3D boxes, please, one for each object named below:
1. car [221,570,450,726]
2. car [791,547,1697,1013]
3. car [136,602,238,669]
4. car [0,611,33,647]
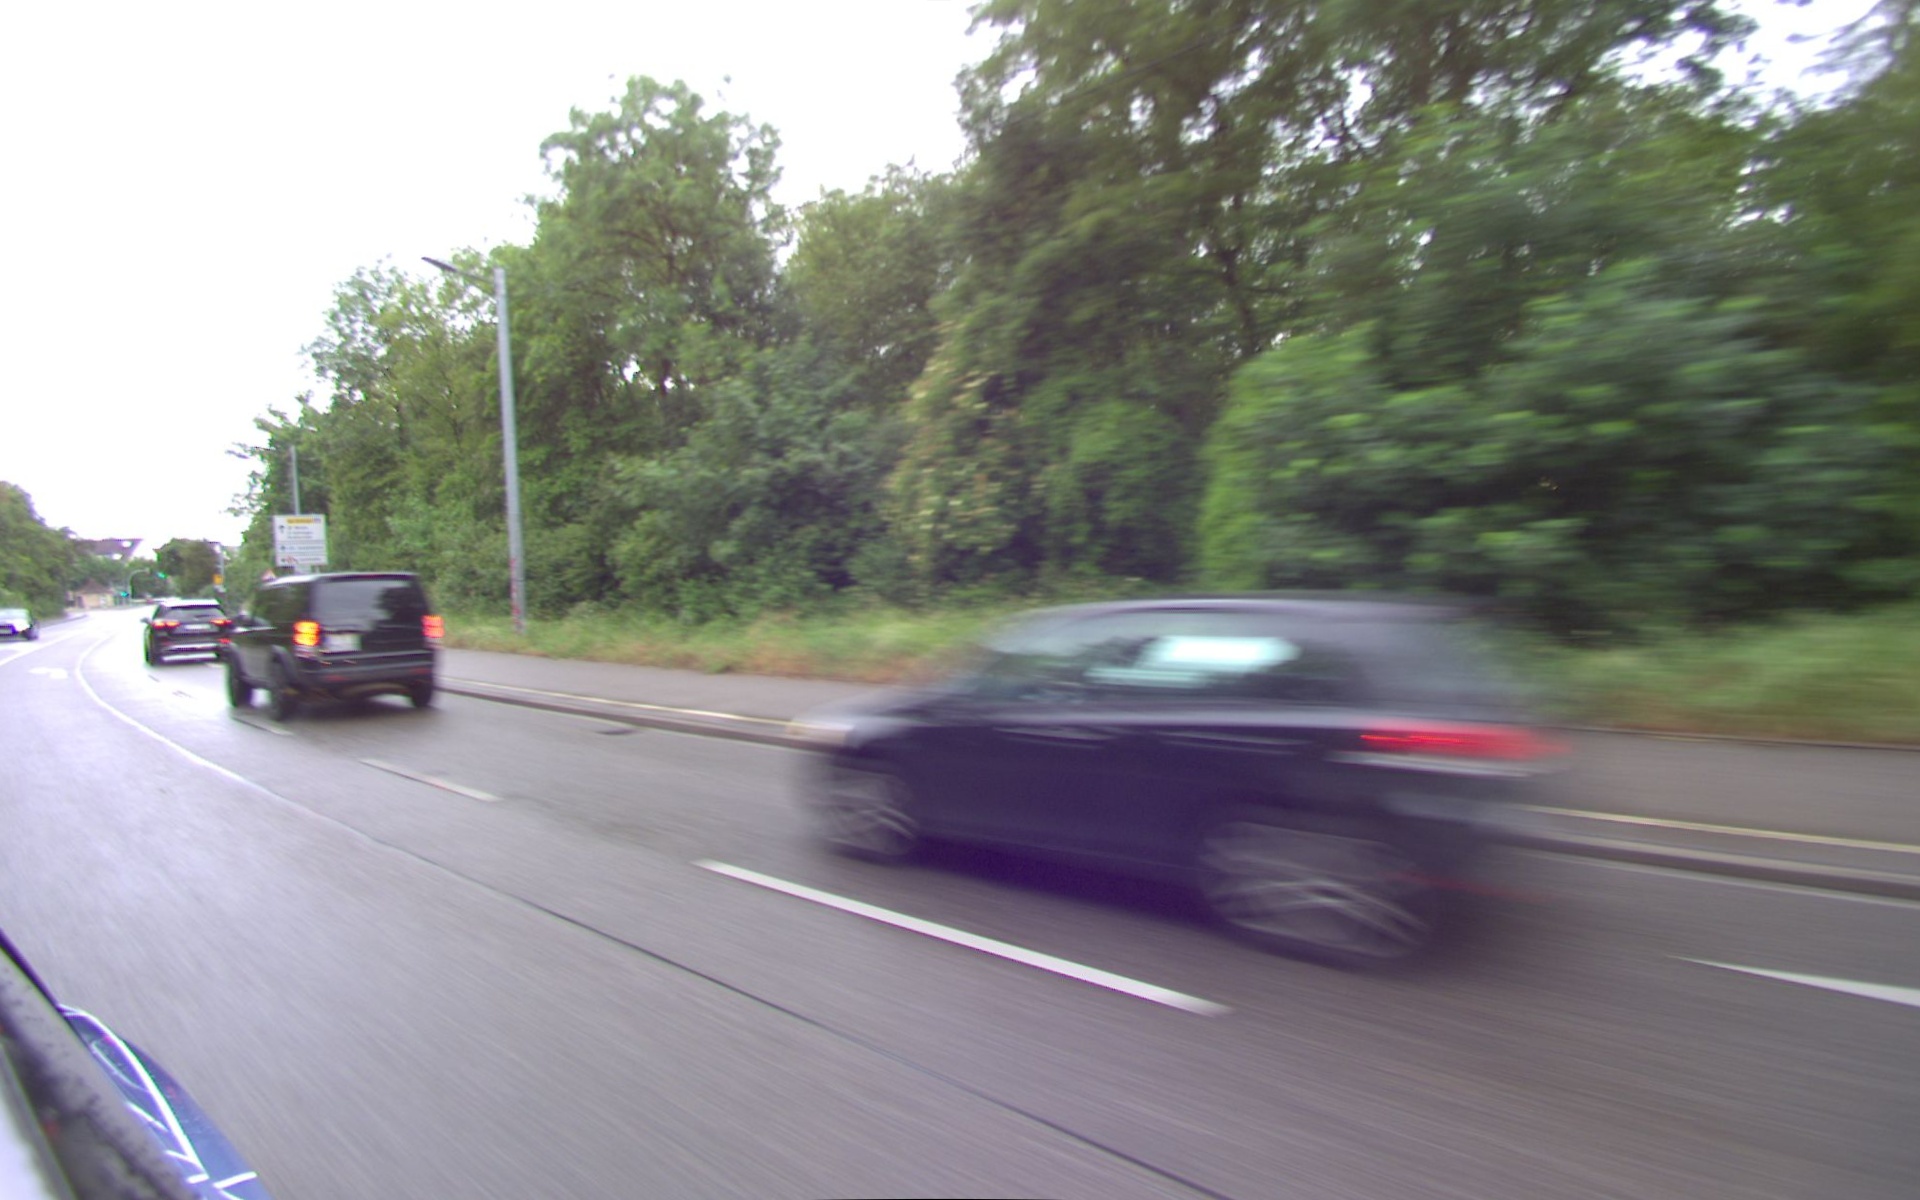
[{"bbox_3d":[-9.015,0.561,14.422,1.806,1.857,4.714,0,0,-44],"label":"car"},{"bbox_3d":[1.182,0.646,5.162,3.997,1.451,1.809,-4,0,40],"label":"car"},{"bbox_3d":[-21.099,0.923,27.565,1.787,1.607,4.523,-2,0,-43],"label":"car"},{"bbox_3d":[-43.431,1.345,45.839,1.804,1.532,4.007,3,-5,-39],"label":"car"}]
